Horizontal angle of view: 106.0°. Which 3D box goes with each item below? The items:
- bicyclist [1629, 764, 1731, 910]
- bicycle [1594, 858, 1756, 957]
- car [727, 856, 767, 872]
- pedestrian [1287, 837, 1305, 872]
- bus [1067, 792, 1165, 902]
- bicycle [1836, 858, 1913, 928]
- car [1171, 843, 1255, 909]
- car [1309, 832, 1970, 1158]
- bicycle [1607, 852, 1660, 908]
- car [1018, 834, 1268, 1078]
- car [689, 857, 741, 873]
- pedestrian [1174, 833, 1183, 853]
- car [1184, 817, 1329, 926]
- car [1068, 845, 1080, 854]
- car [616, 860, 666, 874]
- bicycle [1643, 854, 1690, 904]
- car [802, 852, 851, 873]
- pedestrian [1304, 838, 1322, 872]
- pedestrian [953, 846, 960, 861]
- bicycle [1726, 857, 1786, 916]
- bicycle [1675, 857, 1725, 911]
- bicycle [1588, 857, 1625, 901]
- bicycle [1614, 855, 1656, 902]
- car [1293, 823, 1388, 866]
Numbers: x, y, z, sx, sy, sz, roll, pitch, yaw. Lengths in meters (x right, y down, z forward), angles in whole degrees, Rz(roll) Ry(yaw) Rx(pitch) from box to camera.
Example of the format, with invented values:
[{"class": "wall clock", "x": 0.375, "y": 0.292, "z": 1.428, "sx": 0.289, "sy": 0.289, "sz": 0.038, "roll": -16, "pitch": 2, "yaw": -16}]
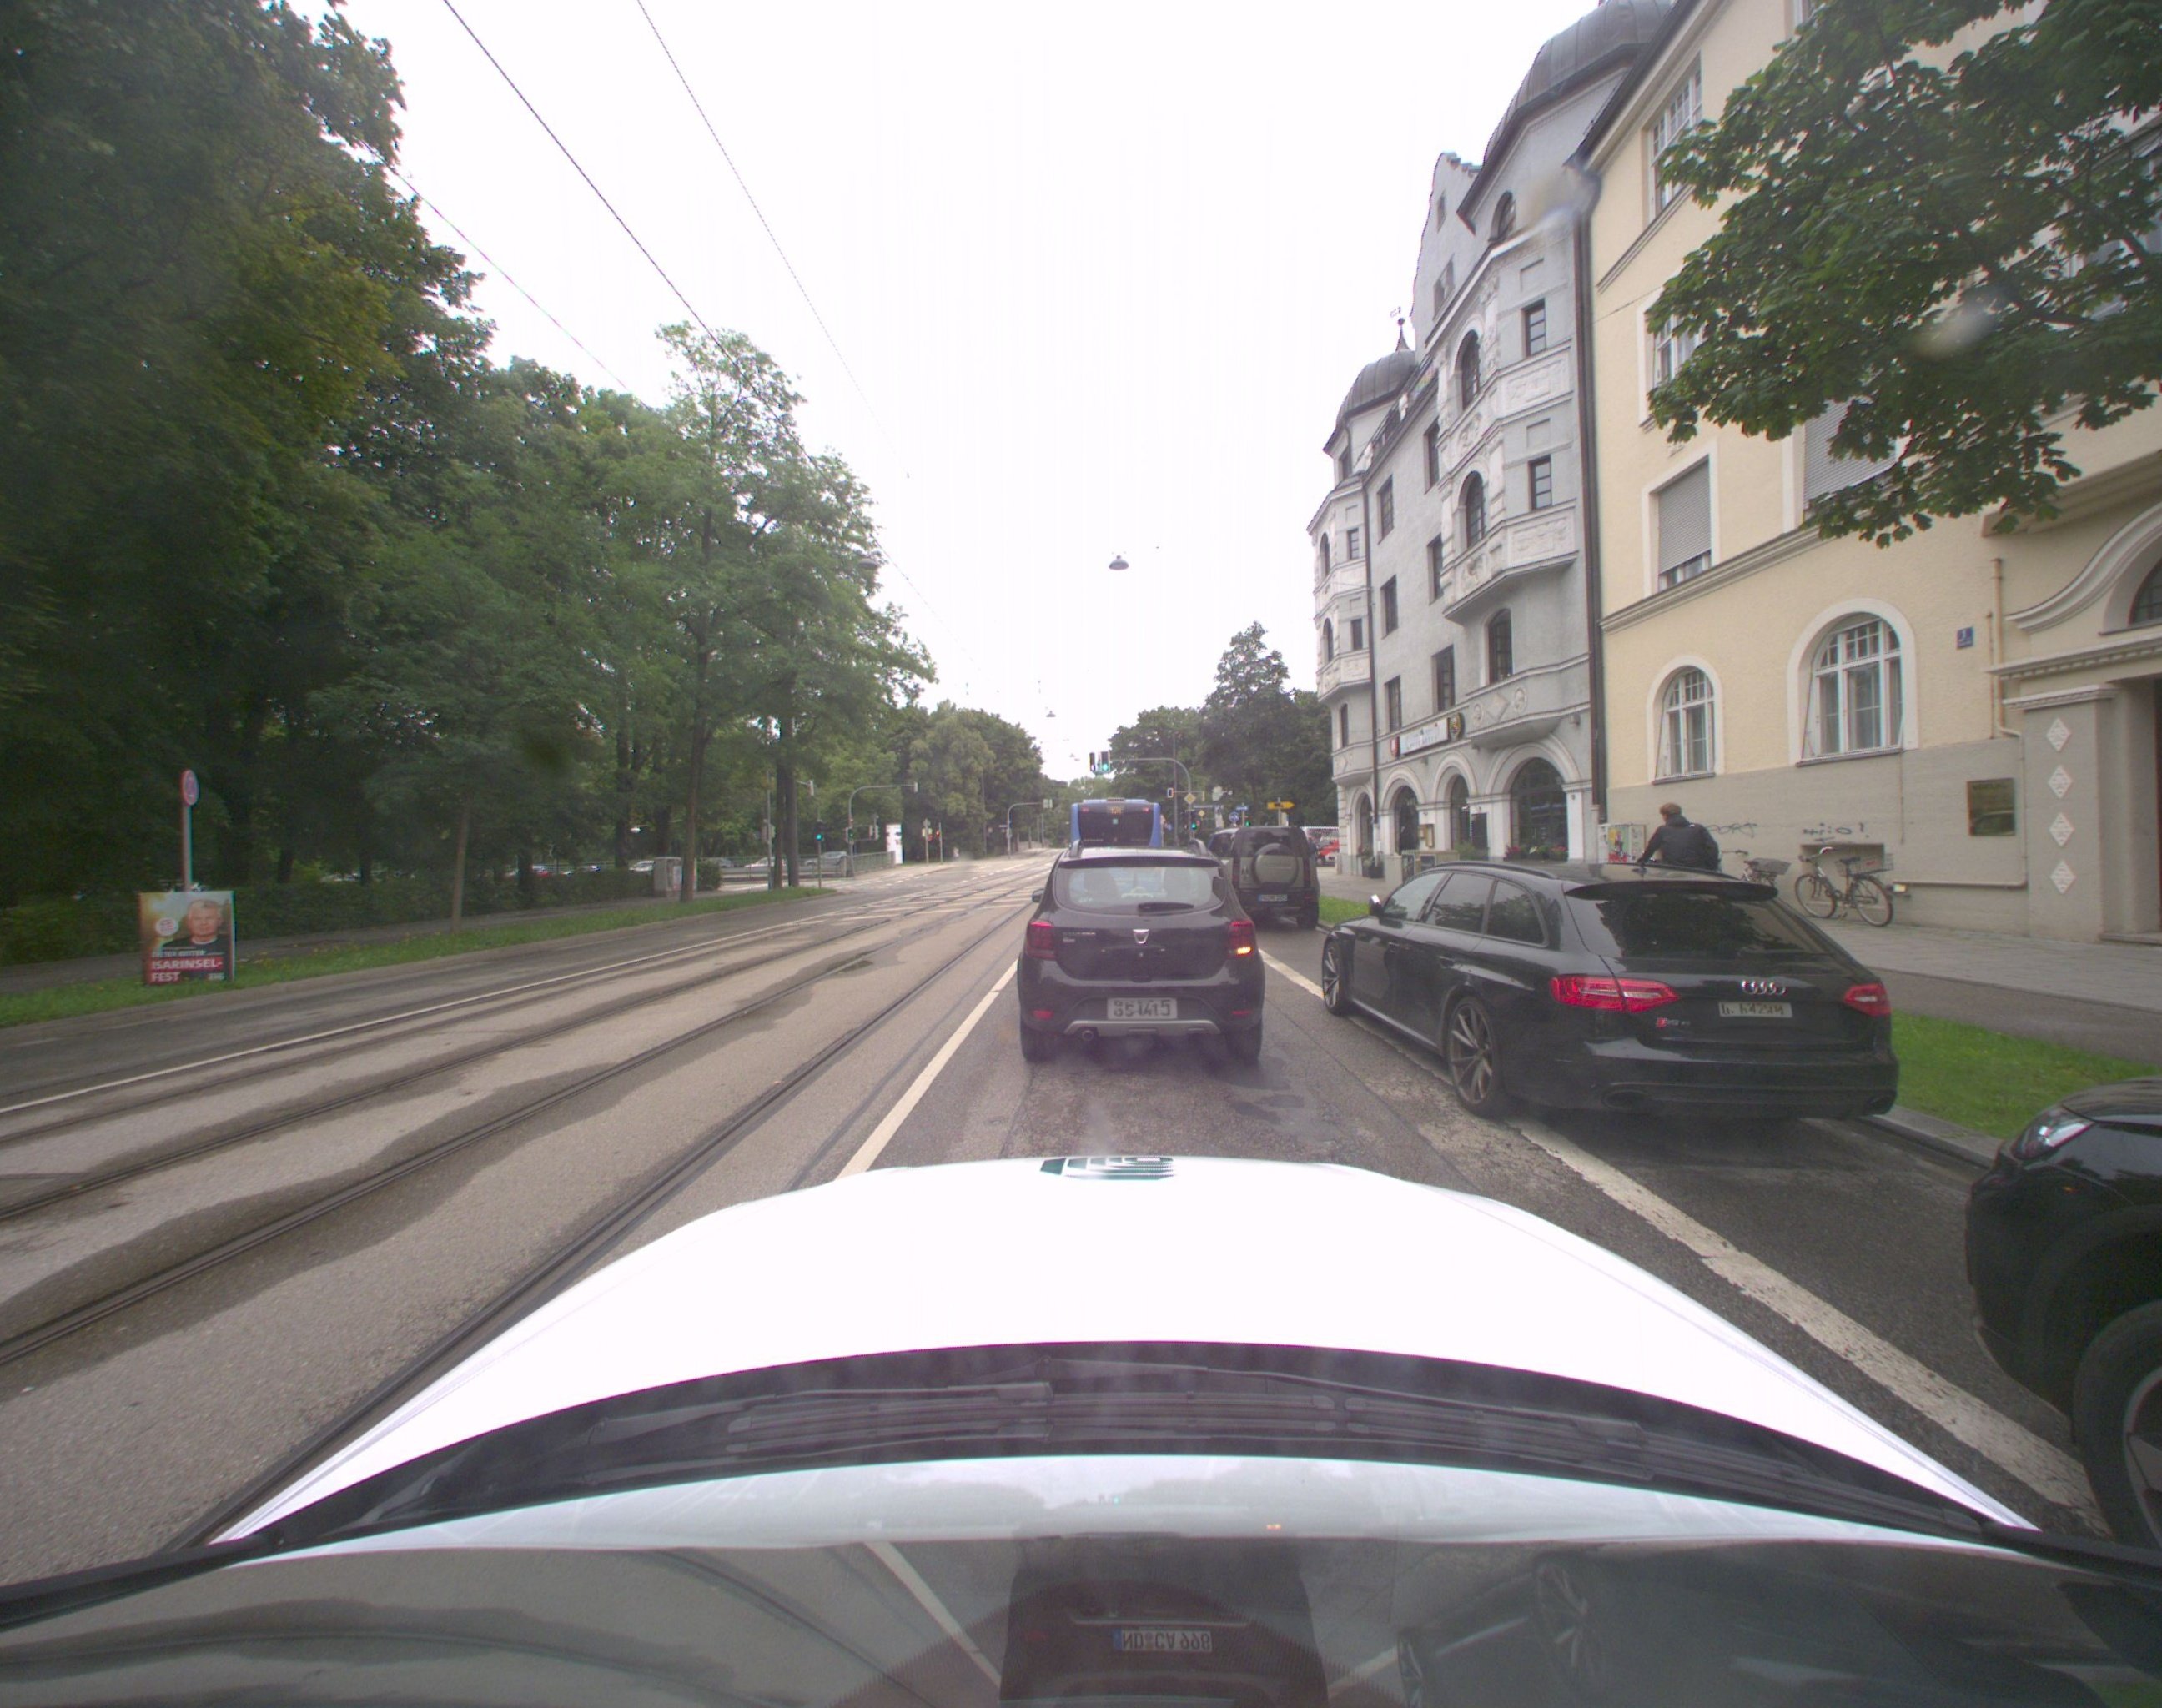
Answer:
[{"class": "bicyclist", "x": 7.332, "y": -0.197, "z": 9.996, "sx": 0.722, "sy": 1.729, "sz": 0.726, "roll": 0, "pitch": 0, "yaw": 1}, {"class": "bicycle", "x": 7.324, "y": 0.609, "z": 10.168, "sx": 0.577, "sy": 1.078, "sz": 1.912, "roll": -4, "pitch": 0, "yaw": 1}, {"class": "car", "x": -30.086, "y": 0.880, "z": 73.422, "sx": 3.103, "sy": 1.452, "sz": 1.249, "roll": 0, "pitch": 0, "yaw": -4}, {"class": "pedestrian", "x": 11.190, "y": 0.044, "z": 42.438, "sx": 0.702, "sy": 1.816, "sz": 0.870, "roll": 0, "pitch": 0, "yaw": 2}, {"class": "bus", "x": 0.973, "y": -0.182, "z": 25.659, "sx": 2.670, "sy": 2.997, "sz": 6.960, "roll": 0, "pitch": 0, "yaw": 0}, {"class": "bicycle", "x": 10.991, "y": 0.516, "z": 11.301, "sx": 0.220, "sy": 0.930, "sz": 0.886, "roll": 0, "pitch": 0, "yaw": 1}, {"class": "car", "x": 3.466, "y": 0.535, "z": 22.071, "sx": 1.708, "sy": 1.591, "sz": 4.329, "roll": 0, "pitch": 0, "yaw": 2}, {"class": "car", "x": 3.088, "y": 0.617, "z": 5.873, "sx": 1.709, "sy": 1.426, "sz": 4.603, "roll": 0, "pitch": 0, "yaw": 1}, {"class": "bicycle", "x": 10.815, "y": 0.490, "z": 15.978, "sx": 0.241, "sy": 1.039, "sz": 1.224, "roll": 0, "pitch": 0, "yaw": 2}, {"class": "car", "x": 0.435, "y": 0.651, "z": 6.961, "sx": 1.595, "sy": 1.556, "sz": 3.526, "roll": 0, "pitch": 0, "yaw": 1}, {"class": "car", "x": -32.975, "y": 1.015, "z": 73.400, "sx": 3.915, "sy": 1.404, "sz": 1.719, "roll": 0, "pitch": 0, "yaw": -3}, {"class": "pedestrian", "x": 10.163, "y": -1.149, "z": 85.175, "sx": 0.760, "sy": 2.116, "sz": 0.854, "roll": -2, "pitch": 0, "yaw": 2}, {"class": "car", "x": 3.351, "y": 0.300, "z": 16.557, "sx": 1.908, "sy": 1.905, "sz": 4.807, "roll": 0, "pitch": 0, "yaw": 0}, {"class": "car", "x": -1.041, "y": -0.614, "z": 120.478, "sx": 1.782, "sy": 1.370, "sz": 3.400, "roll": 0, "pitch": 0, "yaw": 0}, {"class": "car", "x": -39.408, "y": 1.157, "z": 73.029, "sx": 3.720, "sy": 1.185, "sz": 1.249, "roll": 0, "pitch": 0, "yaw": -4}, {"class": "bicycle", "x": 11.194, "y": 0.461, "z": 15.598, "sx": 0.304, "sy": 0.930, "sz": 0.886, "roll": 0, "pitch": 0, "yaw": 4}, {"class": "car", "x": -23.072, "y": 0.784, "z": 73.944, "sx": 4.015, "sy": 1.887, "sz": 1.488, "roll": 0, "pitch": 0, "yaw": -5}, {"class": "pedestrian", "x": 11.979, "y": 0.050, "z": 42.014, "sx": 0.702, "sy": 1.732, "sz": 0.843, "roll": 0, "pitch": 0, "yaw": 2}, {"class": "pedestrian", "x": -12.475, "y": -0.091, "z": 81.726, "sx": 0.529, "sy": 1.501, "sz": 0.589, "roll": 0, "pitch": 0, "yaw": 6}, {"class": "bicycle", "x": 11.002, "y": 0.511, "z": 13.294, "sx": 0.284, "sy": 0.930, "sz": 0.886, "roll": 0, "pitch": 0, "yaw": 3}, {"class": "bicycle", "x": 11.103, "y": 0.527, "z": 14.629, "sx": 0.271, "sy": 0.930, "sz": 0.886, "roll": 0, "pitch": 0, "yaw": 3}, {"class": "bicycle", "x": 11.286, "y": 0.528, "z": 17.495, "sx": 0.258, "sy": 0.930, "sz": 0.886, "roll": 0, "pitch": 0, "yaw": 3}, {"class": "bicycle", "x": 11.257, "y": 0.492, "z": 16.558, "sx": 0.289, "sy": 0.930, "sz": 0.886, "roll": 0, "pitch": 0, "yaw": 3}, {"class": "car", "x": 16.256, "y": -0.586, "z": 51.232, "sx": 5.281, "sy": 2.612, "sz": 2.229, "roll": 0, "pitch": 0, "yaw": -2}]
